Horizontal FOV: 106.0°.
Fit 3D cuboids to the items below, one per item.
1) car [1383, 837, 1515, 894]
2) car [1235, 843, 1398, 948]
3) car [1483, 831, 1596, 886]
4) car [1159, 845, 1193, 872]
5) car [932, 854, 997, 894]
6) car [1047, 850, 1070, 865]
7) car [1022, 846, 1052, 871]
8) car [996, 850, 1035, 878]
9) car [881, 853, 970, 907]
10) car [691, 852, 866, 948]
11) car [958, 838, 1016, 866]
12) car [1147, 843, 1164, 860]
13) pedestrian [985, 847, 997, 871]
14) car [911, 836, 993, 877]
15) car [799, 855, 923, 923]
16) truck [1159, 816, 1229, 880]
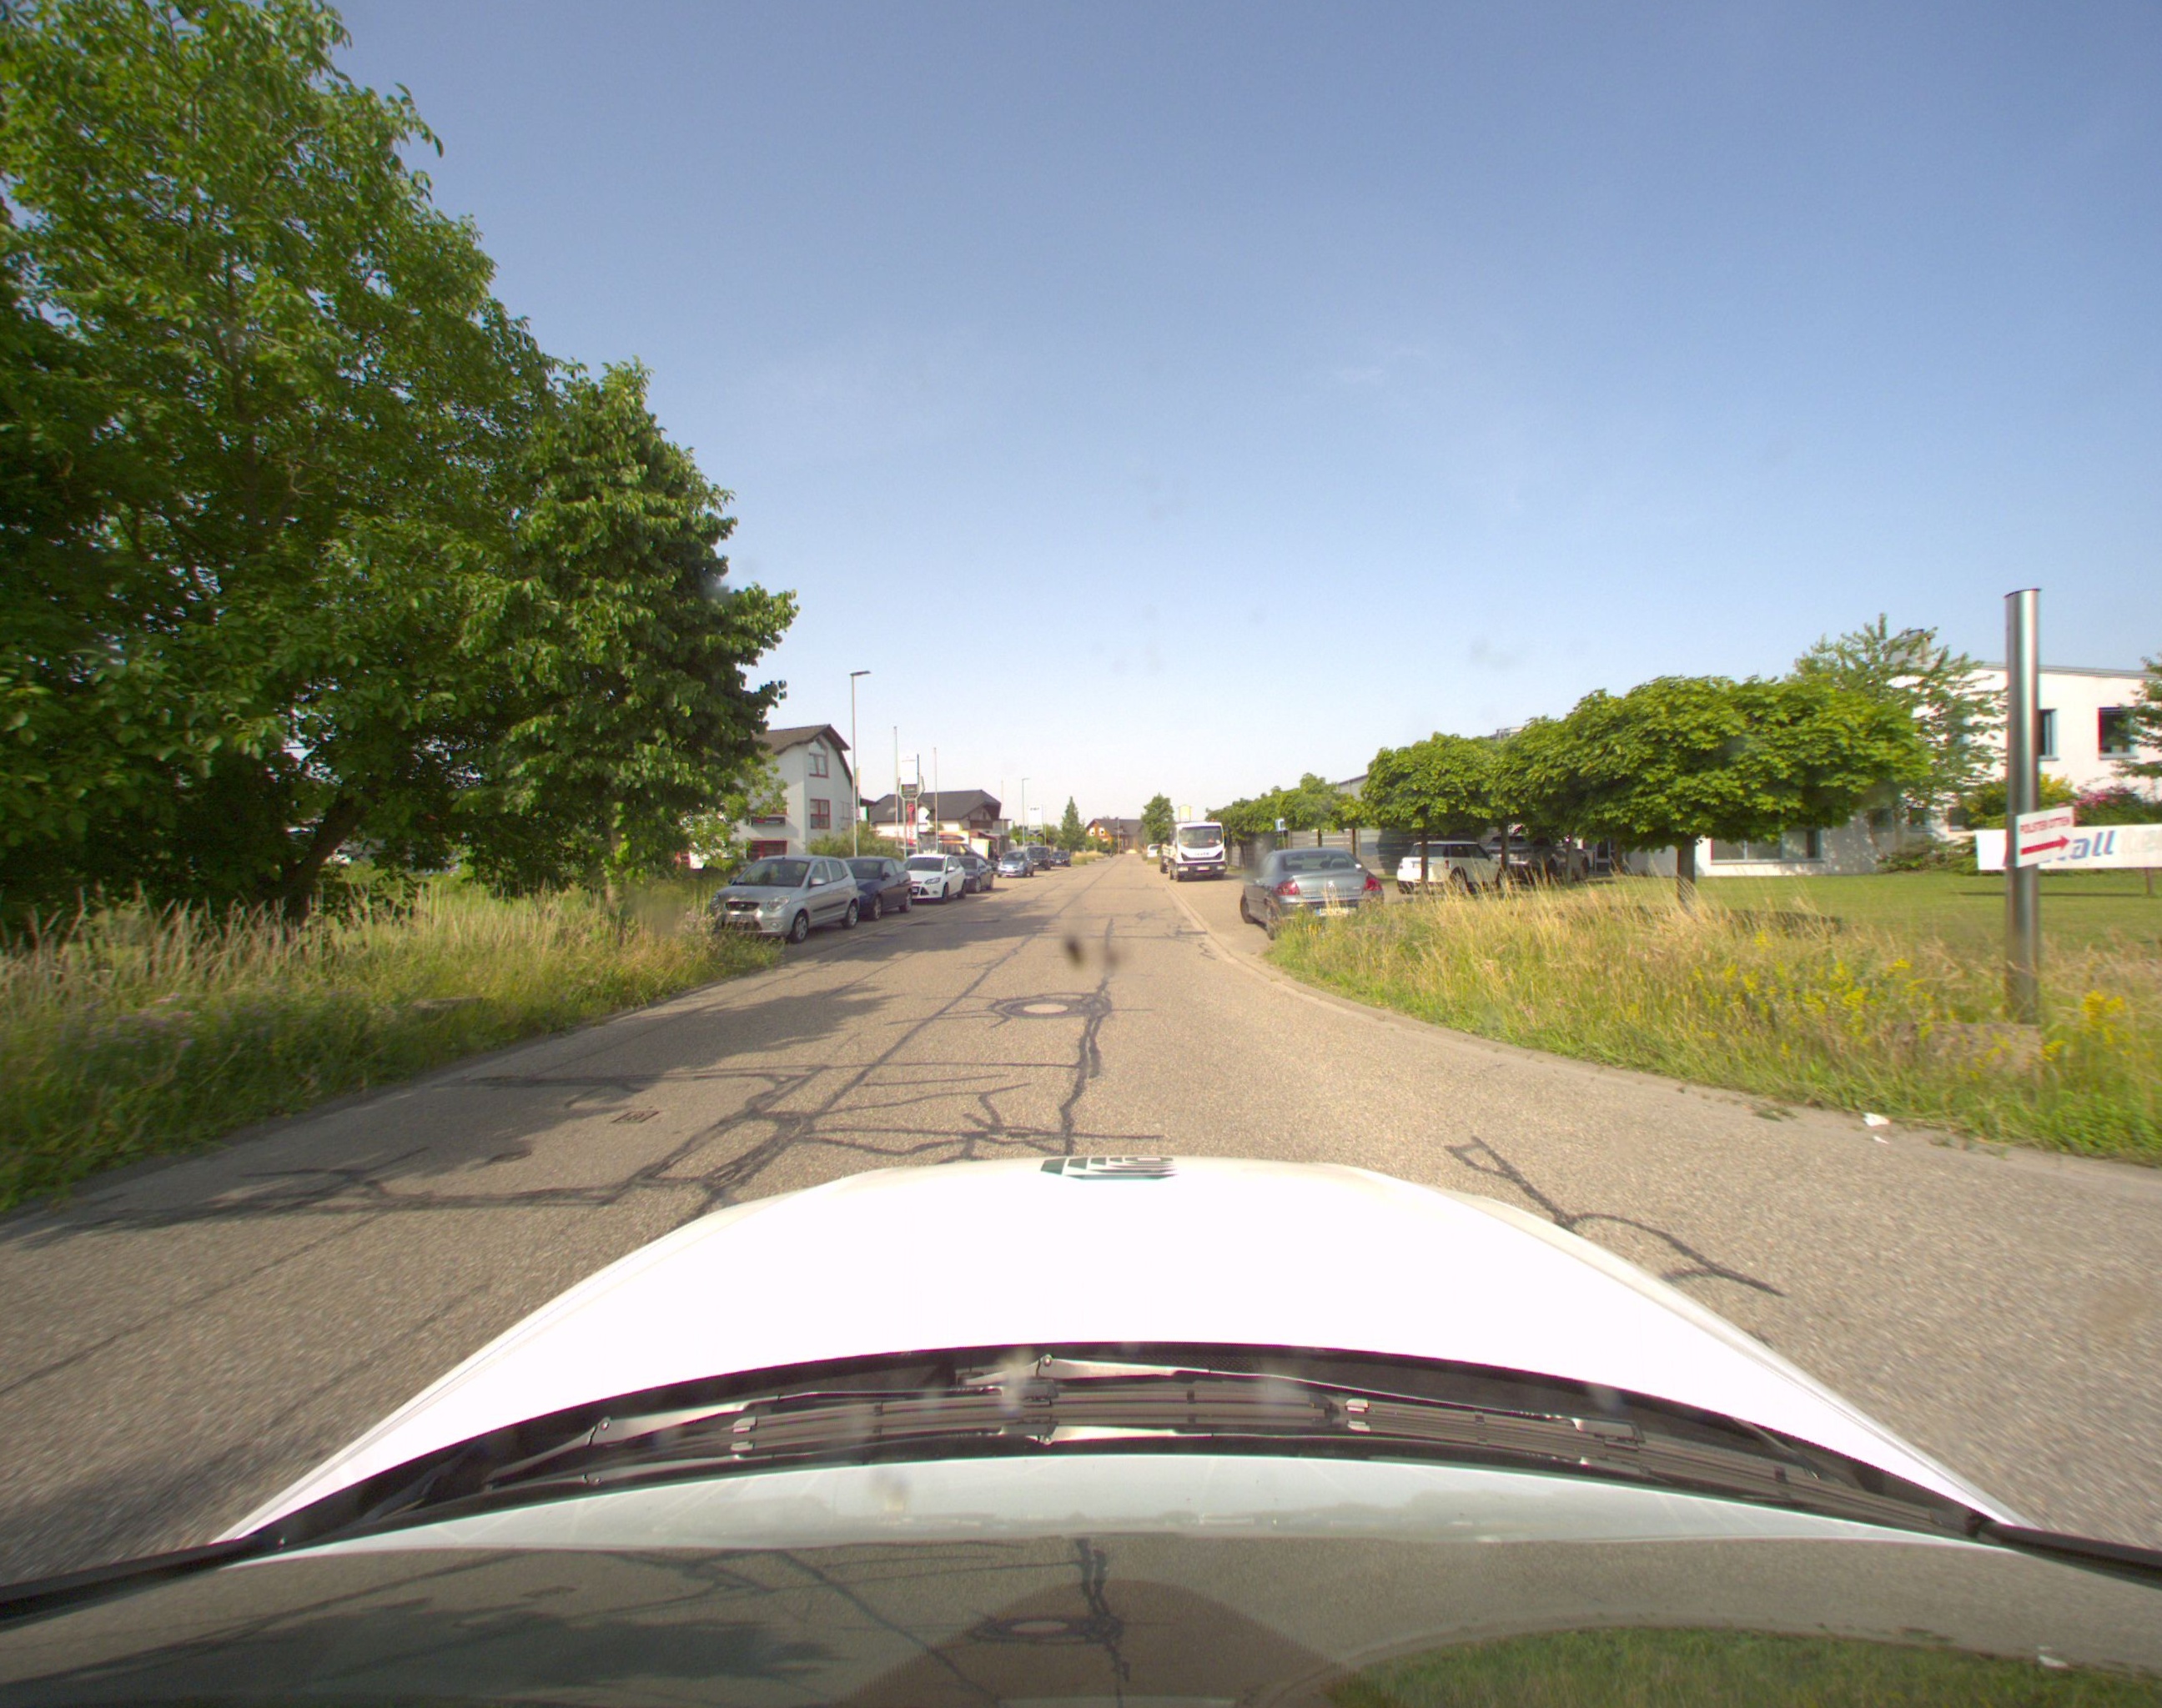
[{"bbox_3d":[10.168,0.278,22.429,3.714,1.380,1.669,-2,1,-36],"label":"car"},{"bbox_3d":[3.926,0.607,14.342,1.786,1.517,4.428,-1,0,3],"label":"car"},{"bbox_3d":[14.470,0.092,25.601,4.558,1.589,1.667,-1,0,-41],"label":"car"},{"bbox_3d":[5.747,0.241,49.637,1.787,1.560,4.003,-1,0,3],"label":"car"},{"bbox_3d":[-4.385,0.713,31.300,1.626,1.387,4.373,0,0,3],"label":"car"},{"bbox_3d":[-2.016,0.301,73.902,1.792,1.386,3.641,0,1,3],"label":"car"},{"bbox_3d":[-3.278,0.312,61.229,1.792,1.774,4.206,0,1,3],"label":"car"},{"bbox_3d":[-3.742,0.543,47.051,1.625,1.517,3.612,0,0,6],"label":"car"},{"bbox_3d":[-4.686,0.733,25.159,1.676,1.469,4.258,0,0,4],"label":"car"},{"bbox_3d":[-5.481,0.751,15.248,1.558,1.538,3.695,0,0,6],"label":"car"},{"bbox_3d":[-9.462,-0.239,82.175,5.110,2.586,2.591,-2,0,24],"label":"car"},{"bbox_3d":[9.132,-0.350,99.988,1.829,1.924,3.760,-2,0,4],"label":"car"},{"bbox_3d":[-6.454,0.354,58.389,0.566,1.715,0.528,-2,0,-34],"label":"pedestrian"},{"bbox_3d":[-7.964,0.138,50.668,4.604,2.416,2.003,-1,0,5],"label":"car"},{"bbox_3d":[-5.183,0.764,19.719,1.571,1.443,3.969,0,0,5],"label":"car"},{"bbox_3d":[5.126,-0.293,38.010,2.351,2.681,6.510,-1,0,0],"label":"truck"}]
